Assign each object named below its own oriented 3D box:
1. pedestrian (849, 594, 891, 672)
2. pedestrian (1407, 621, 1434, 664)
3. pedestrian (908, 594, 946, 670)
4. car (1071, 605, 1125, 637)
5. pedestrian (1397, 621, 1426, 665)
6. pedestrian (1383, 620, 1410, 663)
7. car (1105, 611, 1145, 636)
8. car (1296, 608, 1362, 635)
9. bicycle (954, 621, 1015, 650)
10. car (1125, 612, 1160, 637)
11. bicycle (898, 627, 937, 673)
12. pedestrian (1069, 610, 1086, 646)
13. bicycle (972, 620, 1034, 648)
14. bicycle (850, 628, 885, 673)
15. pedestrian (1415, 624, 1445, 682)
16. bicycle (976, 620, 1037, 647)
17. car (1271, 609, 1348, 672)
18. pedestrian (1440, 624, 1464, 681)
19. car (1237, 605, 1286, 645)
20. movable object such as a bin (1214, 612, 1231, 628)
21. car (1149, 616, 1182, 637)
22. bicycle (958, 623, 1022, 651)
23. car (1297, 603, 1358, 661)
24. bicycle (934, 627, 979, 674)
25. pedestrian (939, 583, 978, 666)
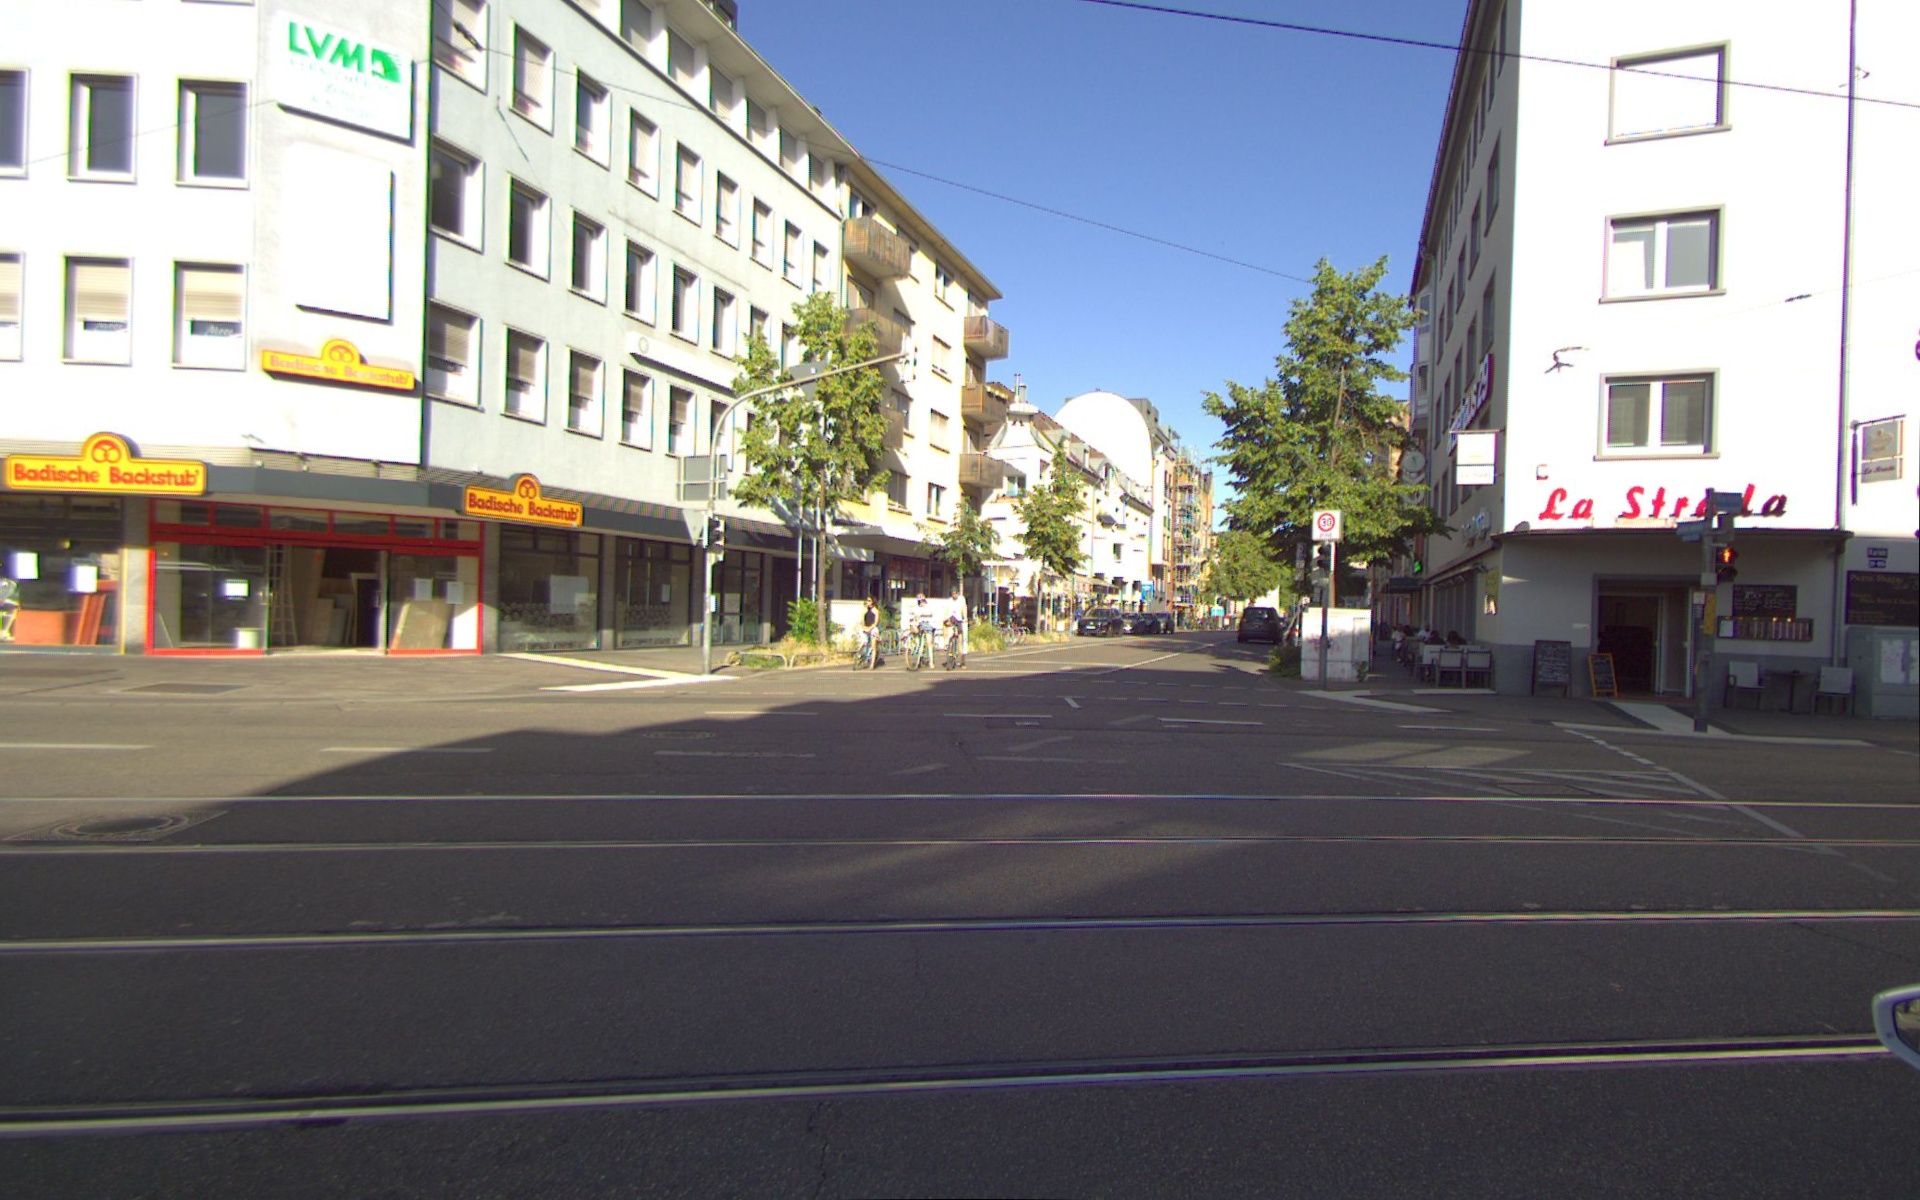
[{"bbox_3d":[-2.058,0.743,23.075,0.777,1.735,0.654,2,0,6],"label":"pedestrian"},{"bbox_3d":[15.408,1.399,33.594,0.718,1.378,0.958,1,0,21],"label":"pedestrian"},{"bbox_3d":[-0.785,0.756,23.936,0.765,1.751,0.559,2,0,7],"label":"pedestrian"},{"bbox_3d":[7.755,1.147,56.071,1.961,1.619,3.999,3,0,22],"label":"car"},{"bbox_3d":[14.610,1.376,32.545,0.718,1.365,1.060,1,0,19],"label":"pedestrian"},{"bbox_3d":[14.635,1.379,33.728,0.697,1.365,1.060,1,0,18],"label":"pedestrian"},{"bbox_3d":[10.415,1.472,63.220,1.756,1.421,3.906,2,0,19],"label":"car"},{"bbox_3d":[32.203,1.870,87.844,5.302,2.174,2.000,1,0,20],"label":"car"},{"bbox_3d":[0.936,1.317,37.491,2.182,0.971,0.656,2,0,9],"label":"bicycle"},{"bbox_3d":[12.399,1.643,68.004,1.690,1.631,3.597,1,0,20],"label":"car"},{"bbox_3d":[-0.982,1.154,23.552,0.543,0.981,1.796,1,0,9],"label":"bicycle"},{"bbox_3d":[6.888,1.620,58.849,0.935,2.040,1.090,-1,0,8],"label":"pedestrian"},{"bbox_3d":[1.696,1.328,39.395,2.348,0.991,0.656,2,0,11],"label":"bicycle"},{"bbox_3d":[-2.139,1.157,23.390,0.472,0.968,1.456,1,0,7],"label":"bicycle"},{"bbox_3d":[11.104,1.235,23.723,0.576,1.330,0.560,1,0,21],"label":"pedestrian"},{"bbox_3d":[1.865,1.335,40.225,2.355,1.019,0.656,2,0,10],"label":"bicycle"},{"bbox_3d":[10.517,1.141,30.060,1.968,1.658,4.287,2,0,21],"label":"car"},{"bbox_3d":[11.886,1.262,24.251,0.480,1.340,0.652,1,0,28],"label":"pedestrian"},{"bbox_3d":[14.271,1.151,47.447,1.873,1.756,4.287,2,0,21],"label":"car"},{"bbox_3d":[23.745,1.806,90.998,1.287,1.426,1.071,2,0,4],"label":"movable object such as a bin"},{"bbox_3d":[14.791,1.878,72.271,1.756,1.421,3.906,2,0,19],"label":"car"},{"bbox_3d":[1.133,1.396,38.198,2.355,0.971,0.546,2,0,9],"label":"bicycle"},{"bbox_3d":[13.171,1.090,35.922,1.873,1.877,4.287,2,0,21],"label":"car"},{"bbox_3d":[-0.065,1.169,23.515,0.745,1.021,1.726,-1,-1,9],"label":"bicycle"},{"bbox_3d":[-0.029,0.574,23.477,0.765,1.891,1.002,-1,0,7],"label":"pedestrian"}]
